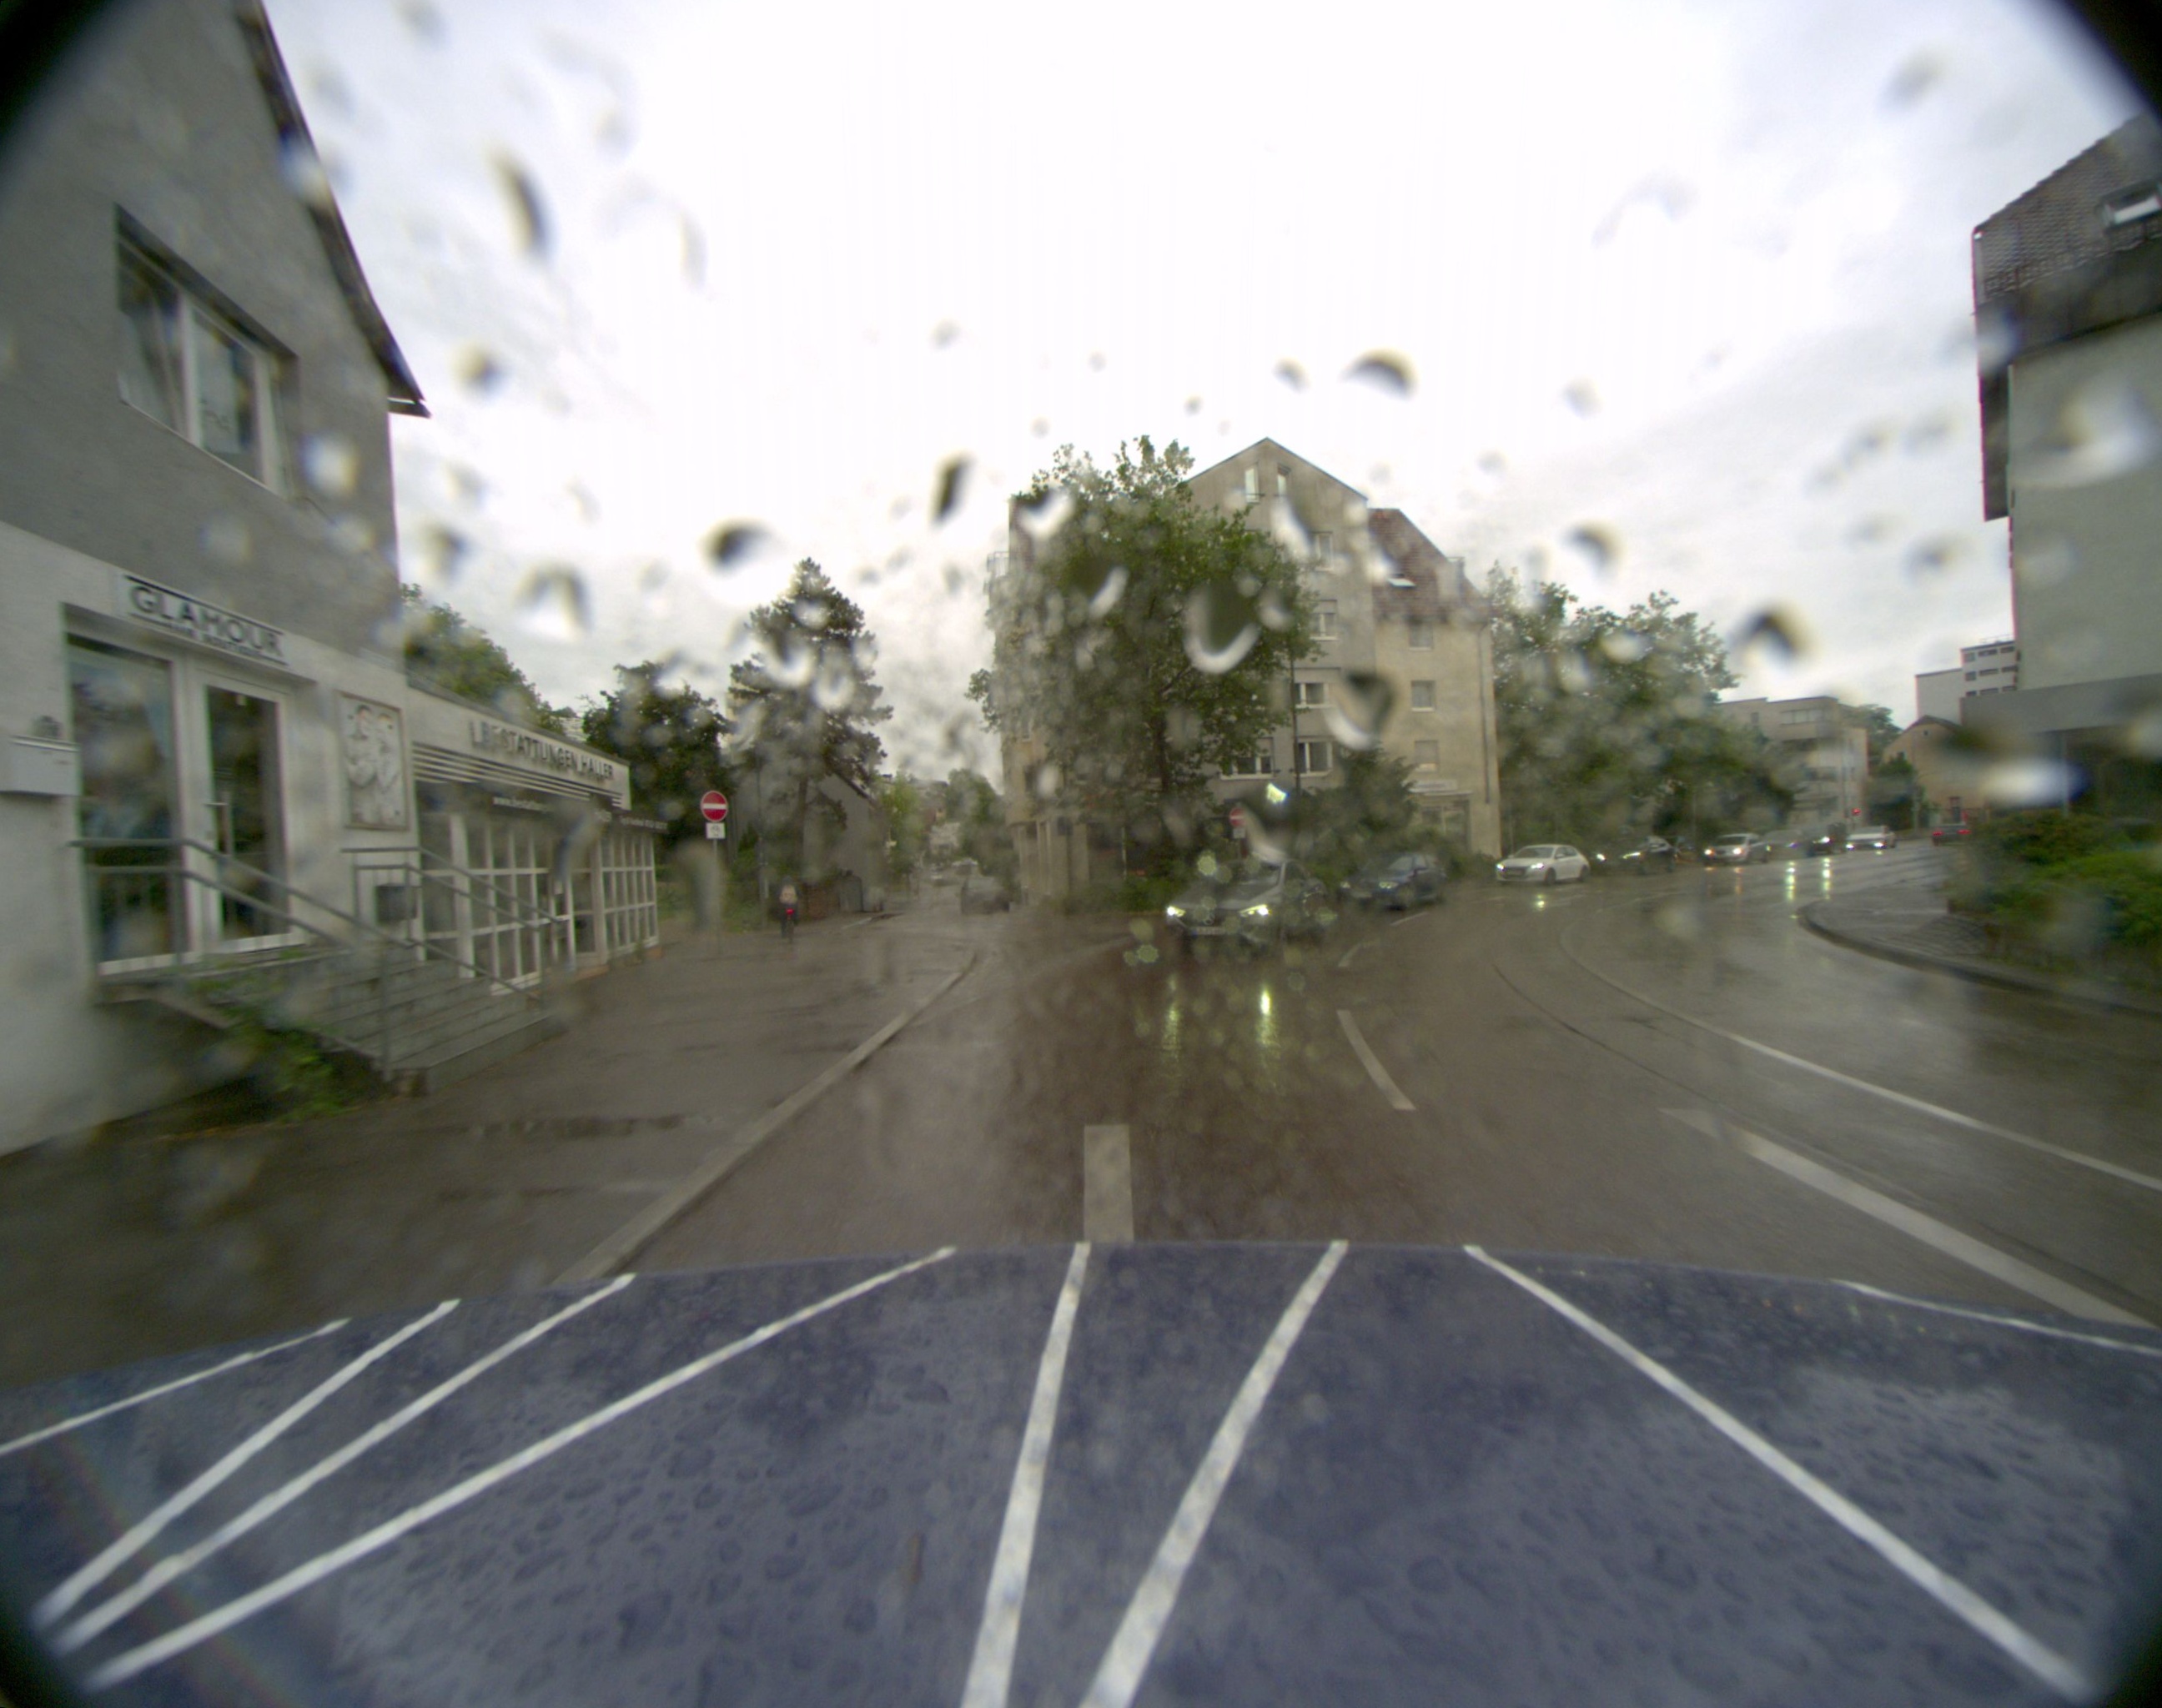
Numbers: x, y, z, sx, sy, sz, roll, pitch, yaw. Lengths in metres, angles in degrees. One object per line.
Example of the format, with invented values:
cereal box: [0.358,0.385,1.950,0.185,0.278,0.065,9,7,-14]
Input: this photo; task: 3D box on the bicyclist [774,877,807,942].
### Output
bicyclist: [-7.015,1.315,18.341,0.686,1.508,1.029,-2,-1,-22]

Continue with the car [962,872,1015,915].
car: [-3.983,1.662,33.381,1.999,1.641,3.999,-3,-1,-4]

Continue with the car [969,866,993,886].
car: [-9.402,2.029,71.265,2.000,1.565,3.996,-4,1,-8]

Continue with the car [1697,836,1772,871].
car: [32.813,-0.029,38.156,4.007,1.612,1.841,-2,0,-34]

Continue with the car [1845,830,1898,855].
car: [52.783,-0.749,50.716,4.008,1.542,1.995,-1,-3,-38]

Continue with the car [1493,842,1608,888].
car: [17.356,0.401,28.070,4.006,1.444,1.996,-3,0,-32]

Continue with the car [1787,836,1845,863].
car: [44.904,-0.272,46.406,4.007,1.469,1.850,-2,0,-36]

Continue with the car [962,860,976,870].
car: [-18.705,1.816,127.443,1.999,1.563,4.000,-2,-2,-5]

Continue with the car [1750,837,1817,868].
car: [38.976,-0.082,42.132,4.007,1.542,1.829,-2,-2,-34]

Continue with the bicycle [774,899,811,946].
bicycle: [-6.946,1.676,18.324,0.764,1.028,2.079,-2,-5,-21]

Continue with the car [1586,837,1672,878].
car: [22.985,0.132,31.839,4.007,1.556,1.810,-2,-2,-38]

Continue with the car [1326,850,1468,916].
car: [8.586,0.727,20.479,4.386,1.523,1.770,-2,-1,-42]

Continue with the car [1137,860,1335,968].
car: [2.914,0.924,13.485,1.995,1.484,4.322,-2,0,32]
